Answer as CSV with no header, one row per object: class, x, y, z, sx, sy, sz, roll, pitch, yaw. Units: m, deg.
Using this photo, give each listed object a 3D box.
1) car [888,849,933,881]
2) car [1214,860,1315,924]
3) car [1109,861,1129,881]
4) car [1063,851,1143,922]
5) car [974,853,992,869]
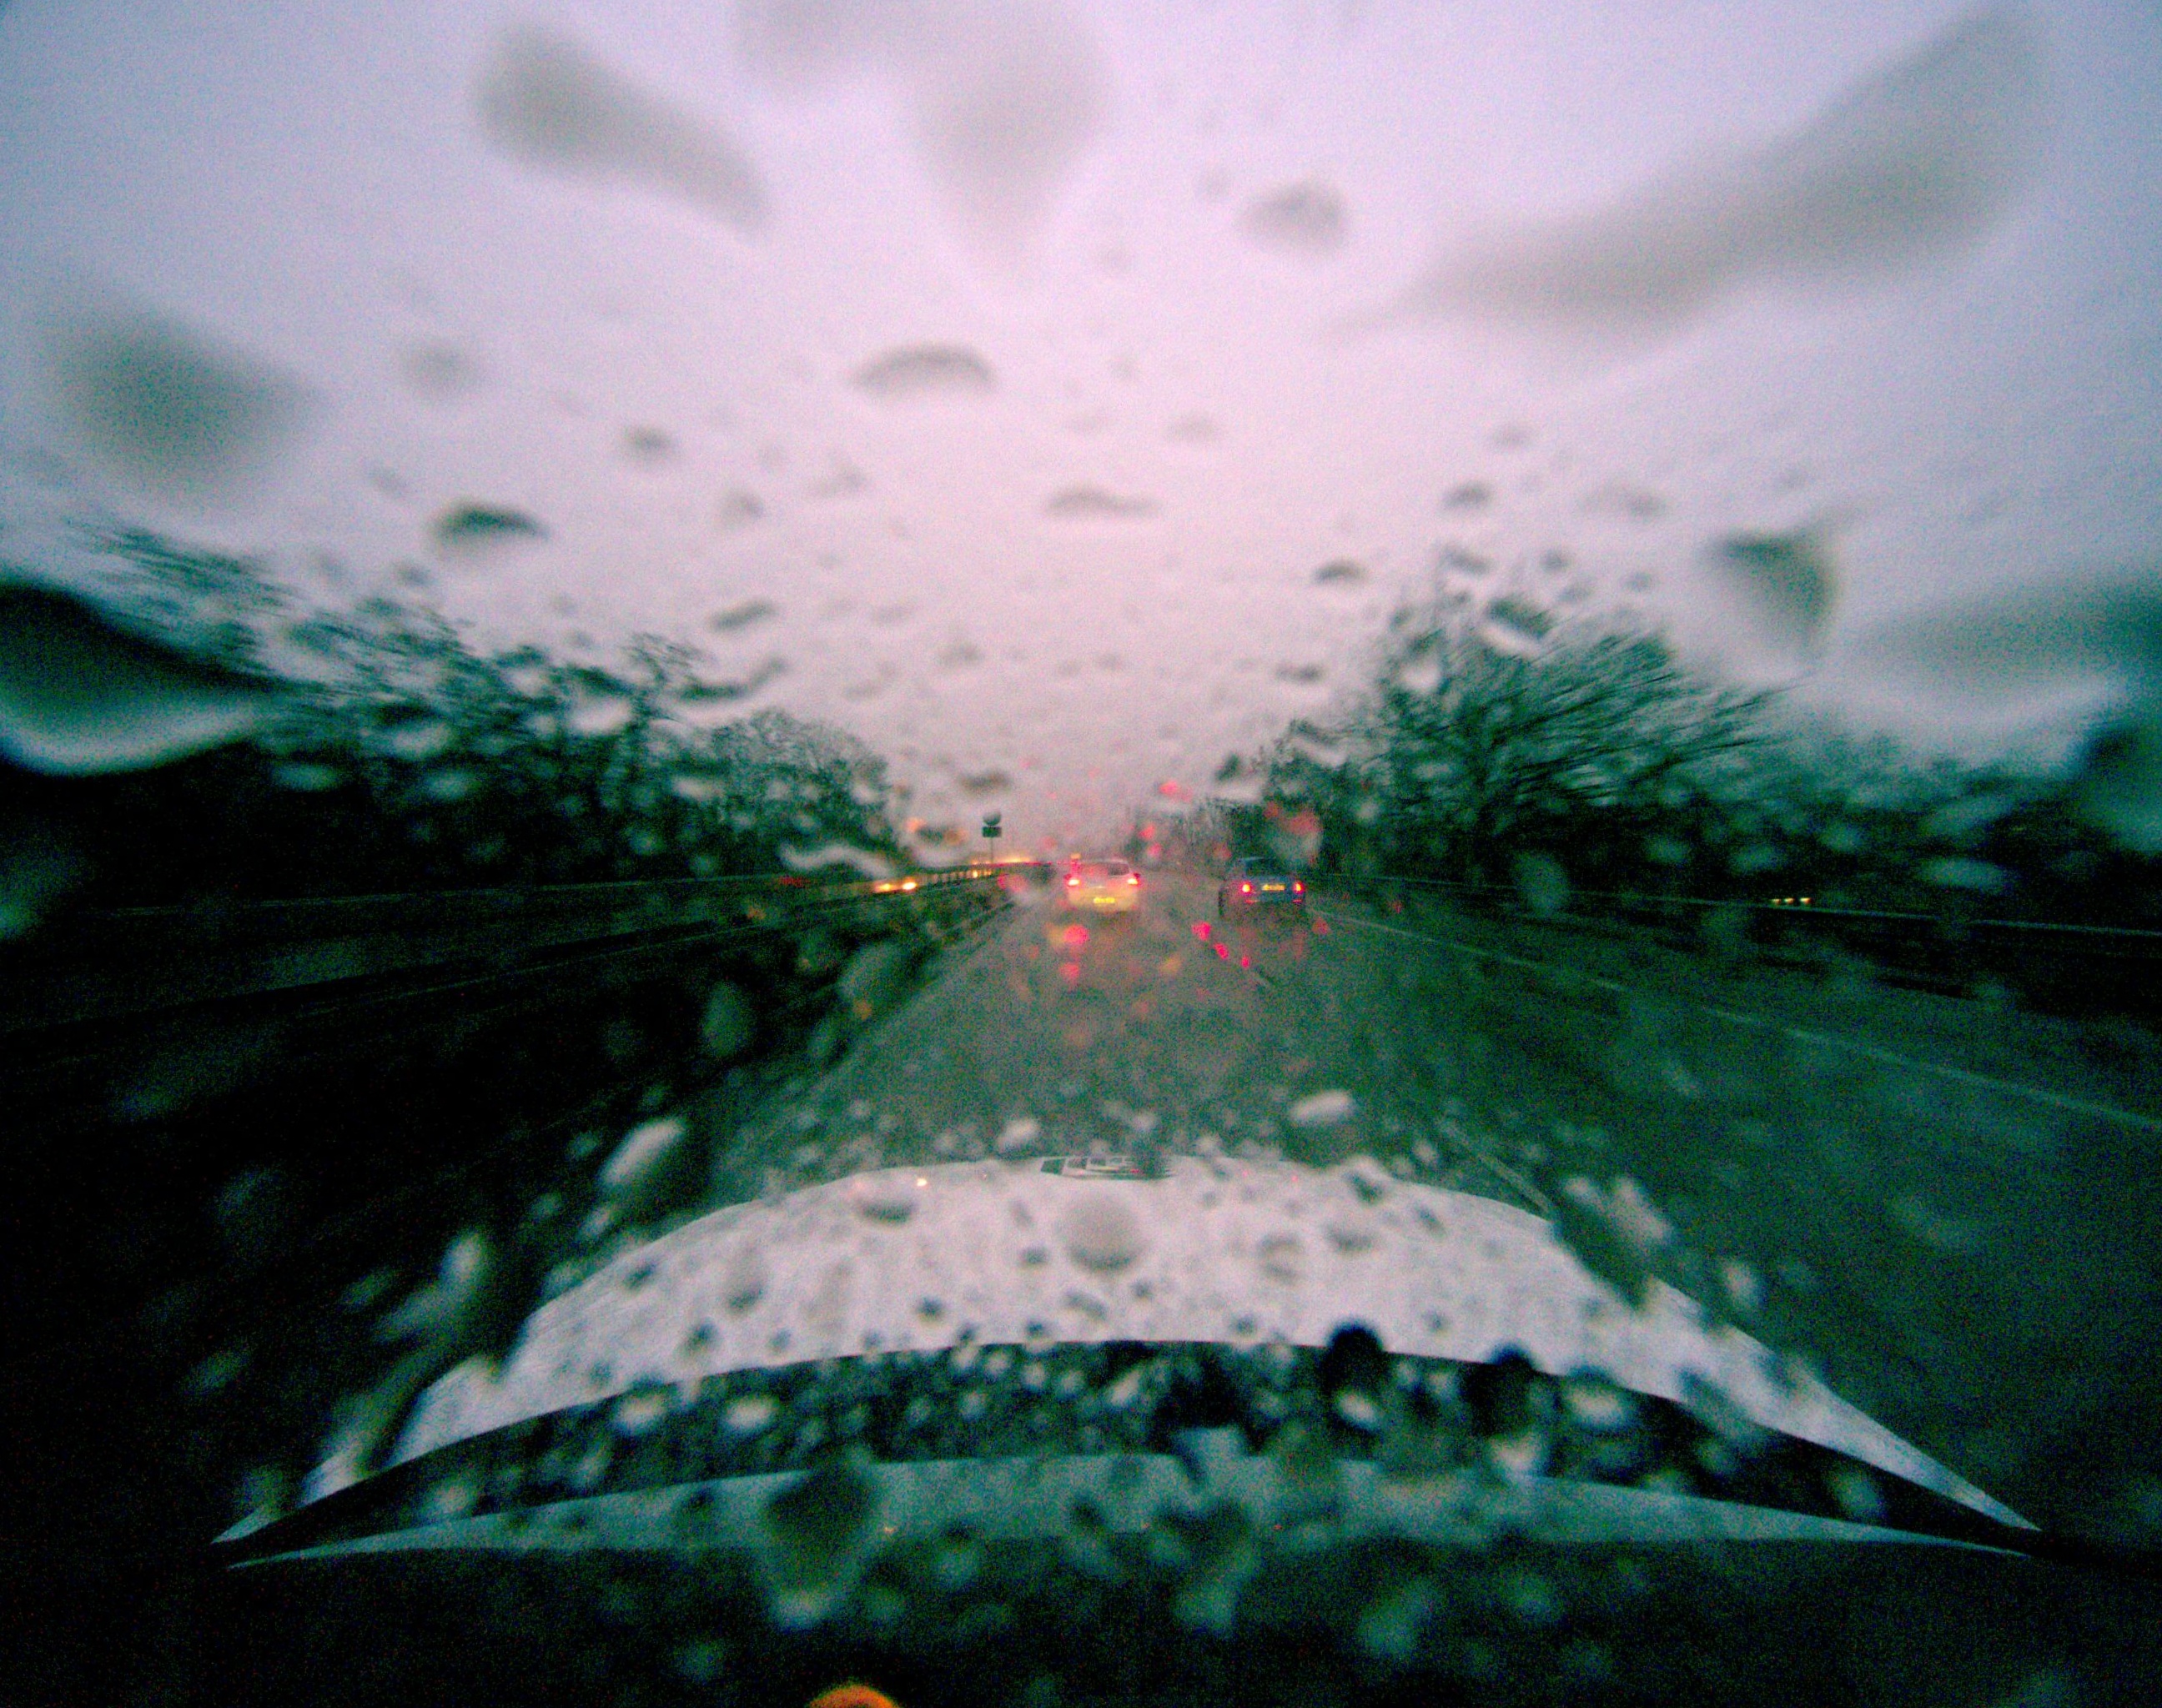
car,-10.769,0.709,51.740,1.929,1.973,4.534,0,-1,-1
car,4.587,0.895,20.935,1.838,1.453,4.151,-1,0,3
car,3.929,1.788,84.230,1.867,1.904,4.001,5,-1,2
car,0.612,0.754,20.855,1.838,1.636,3.770,-1,0,3
car,-11.544,0.773,95.739,1.741,1.833,4.131,0,-1,-2
